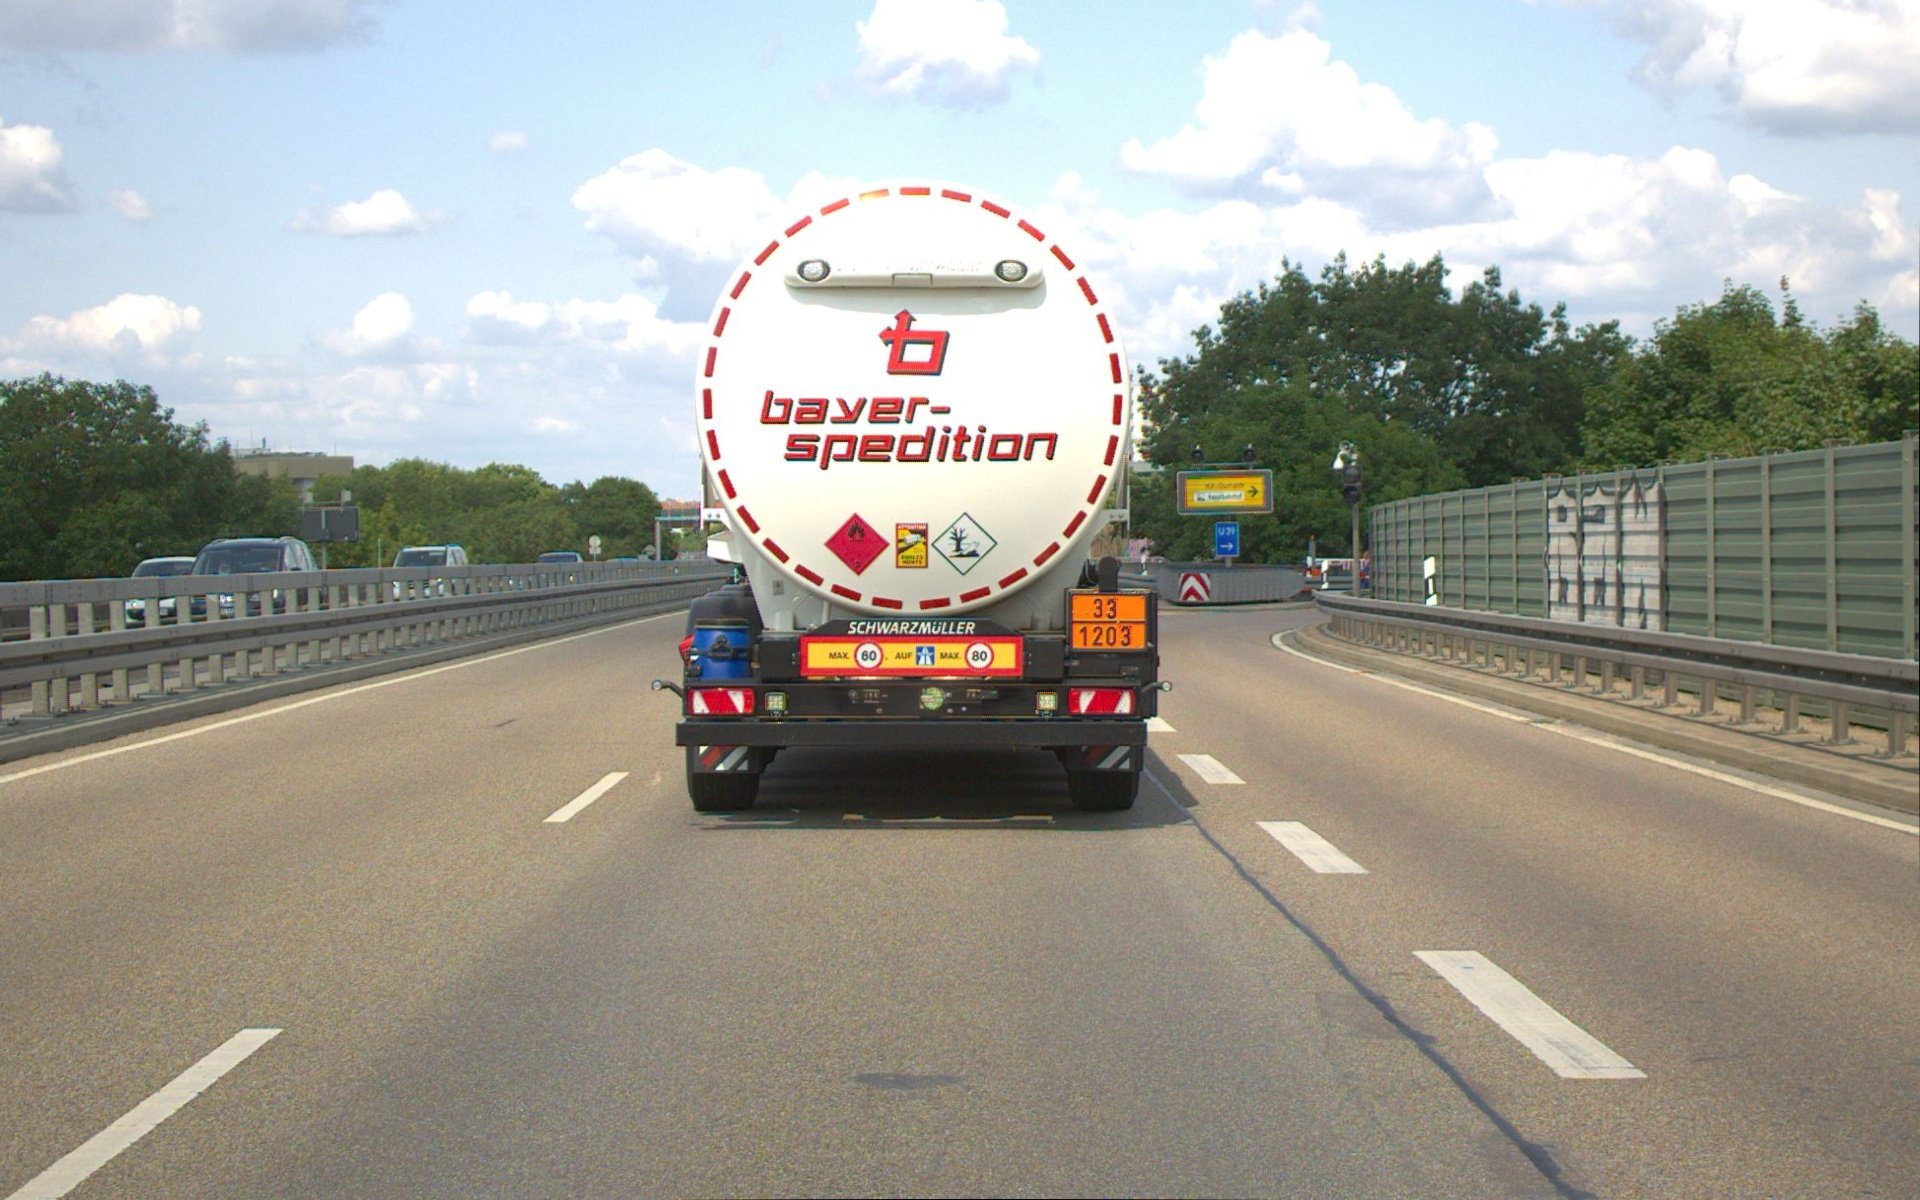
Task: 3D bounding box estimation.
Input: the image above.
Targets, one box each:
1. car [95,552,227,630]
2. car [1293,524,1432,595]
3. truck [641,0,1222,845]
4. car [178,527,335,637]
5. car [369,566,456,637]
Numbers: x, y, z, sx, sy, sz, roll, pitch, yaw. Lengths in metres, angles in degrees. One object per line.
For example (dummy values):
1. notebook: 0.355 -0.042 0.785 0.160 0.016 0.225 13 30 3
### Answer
1. car: -16.698 -0.211 72.009 1.923 1.568 3.887 1 1 -2
2. car: 9.934 -0.981 84.639 1.997 1.700 3.993 1 1 29
3. truck: -0.209 -0.995 21.457 2.895 4.354 8.030 1 1 -1
4. car: -11.798 -0.318 57.915 1.993 1.744 4.597 1 1 -4
5. car: -16.400 0.018 103.184 1.960 1.918 5.192 1 2 -3
